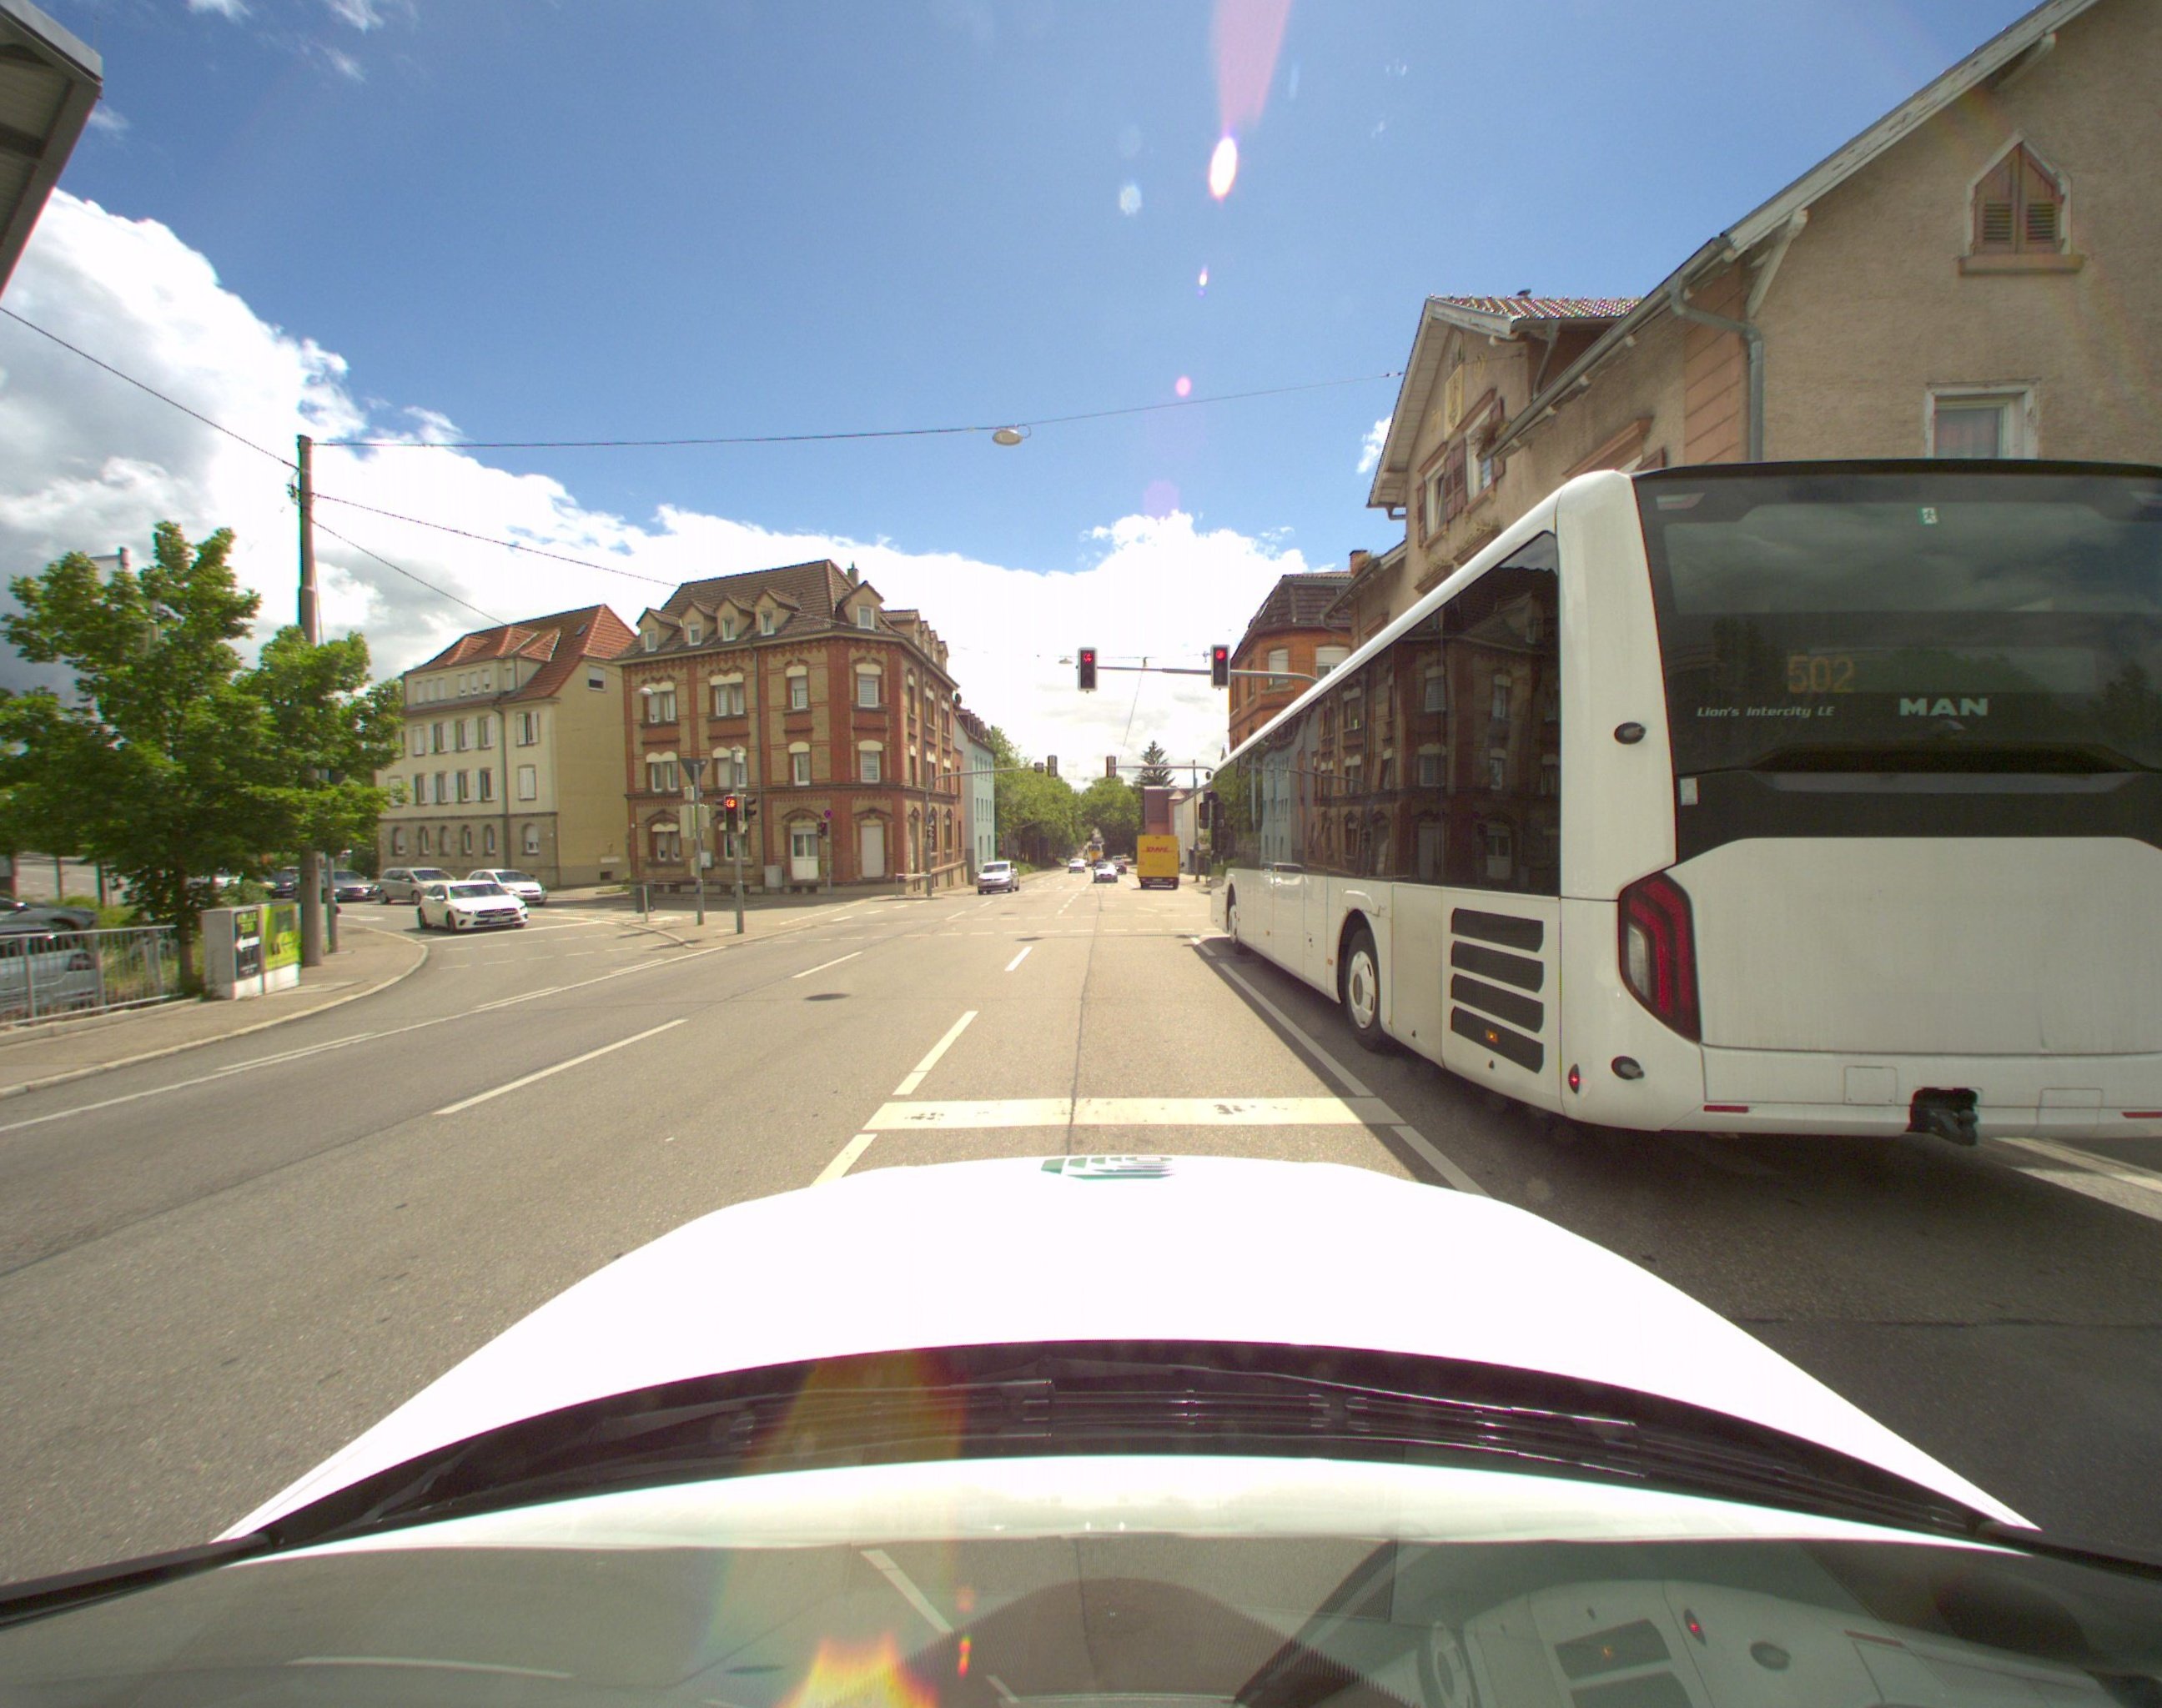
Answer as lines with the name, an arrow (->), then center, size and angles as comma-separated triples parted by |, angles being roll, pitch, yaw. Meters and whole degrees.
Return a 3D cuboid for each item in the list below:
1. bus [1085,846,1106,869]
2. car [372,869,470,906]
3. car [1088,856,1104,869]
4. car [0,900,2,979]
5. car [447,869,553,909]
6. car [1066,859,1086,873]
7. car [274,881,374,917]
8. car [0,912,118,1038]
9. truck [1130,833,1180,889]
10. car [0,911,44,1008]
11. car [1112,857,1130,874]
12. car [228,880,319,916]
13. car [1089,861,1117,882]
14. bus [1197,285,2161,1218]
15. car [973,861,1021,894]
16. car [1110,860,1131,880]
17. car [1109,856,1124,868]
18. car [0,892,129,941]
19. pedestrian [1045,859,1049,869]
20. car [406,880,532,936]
bus -> 2.459, 0.641, 140.491 | 3.290, 3.631, 11.240 | -2, 0, -1
car -> -29.210, 1.471, 36.056 | 3.951, 1.519, 1.757 | -1, 0, 24
car -> 2.109, 1.156, 115.101 | 2.086, 1.830, 4.140 | -1, 0, -1
car -> -23.407, 1.736, 16.439 | 3.371, 1.575, 1.526 | -1, 0, 30
car -> -23.602, 1.393, 33.069 | 3.951, 1.497, 1.711 | -1, 0, 24
car -> -0.582, 1.532, 101.237 | 2.199, 1.613, 4.549 | -2, 0, 2
car -> -35.455, 2.079, 38.148 | 3.951, 1.519, 2.011 | -1, 0, 24
car -> -16.120, 1.741, 12.190 | 3.638, 1.575, 1.766 | -1, -2, 34
truck -> 4.284, 0.379, 45.926 | 2.527, 2.913, 6.585 | 0, -1, 7
car -> -19.715, 1.833, 14.159 | 3.744, 1.523, 1.526 | -1, 0, 30
car -> 4.308, 1.221, 88.840 | 1.812, 1.784, 4.002 | -2, 0, 2
car -> -39.887, 2.130, 40.228 | 4.291, 1.586, 2.012 | -1, 0, 29
car -> 1.595, 1.193, 58.319 | 1.858, 1.367, 4.549 | -2, 0, 2
bus -> 3.479, -0.345, 9.315 | 2.893, 3.510, 12.492 | 0, -1, 2
car -> -4.417, 1.215, 43.579 | 1.928, 1.563, 4.390 | -2, 0, 2
car -> 4.280, 1.726, 88.966 | 1.987, 2.013, 3.999 | -2, 0, 0
car -> 5.623, 1.264, 129.695 | 2.086, 1.830, 4.140 | -1, 0, -1
car -> -29.257, 1.730, 22.222 | 1.795, 1.186, 4.025 | -1, 0, 31
pedestrian -> -5.657, 1.647, 136.884 | 0.604, 1.758, 0.653 | -2, 0, 0
car -> -18.248, 1.543, 24.223 | 4.334, 1.447, 1.875 | -2, 0, 37
